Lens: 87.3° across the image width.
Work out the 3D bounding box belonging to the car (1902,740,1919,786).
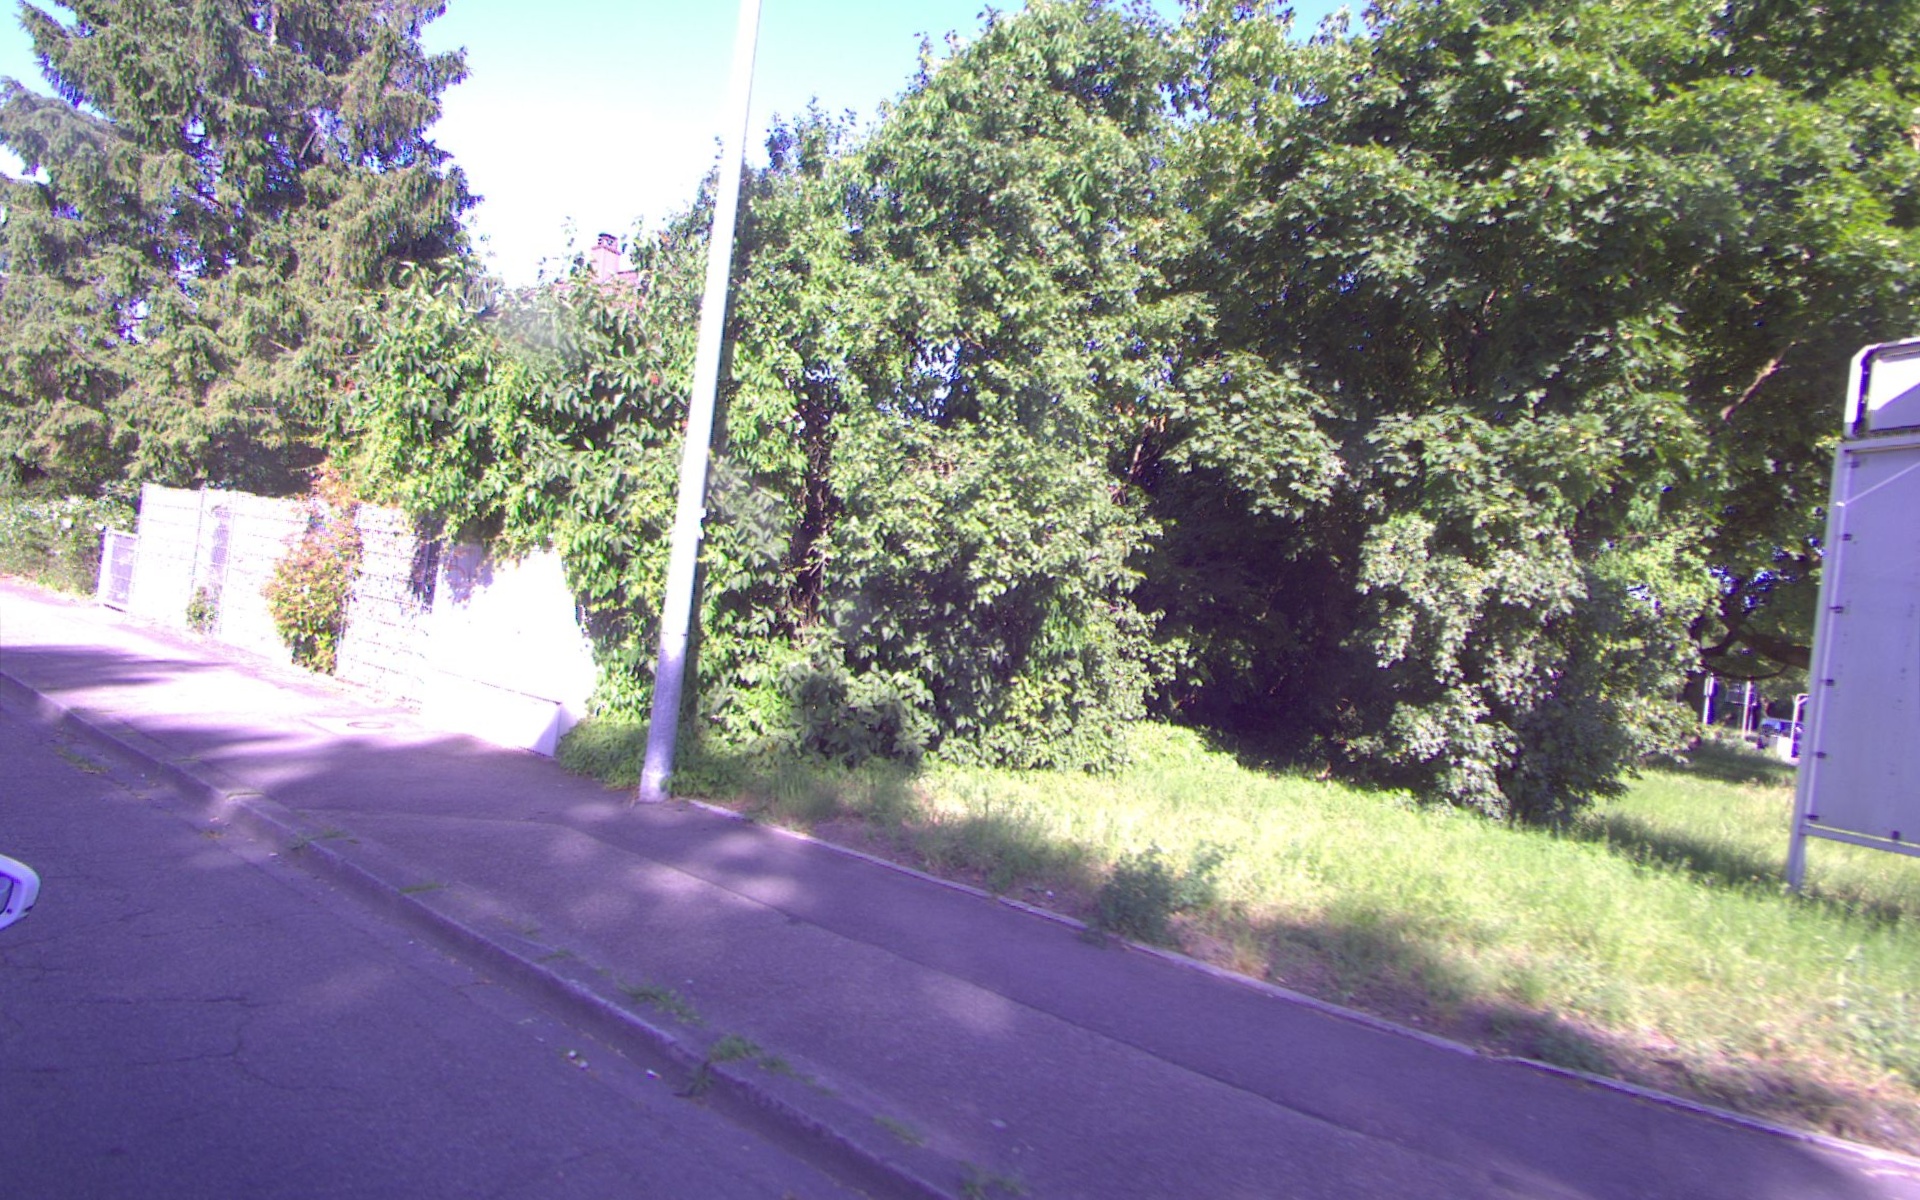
[{"bbox_3d":[40.376,6.836,40.789,1.767,1.819,3.911,5,-1,22],"label":"car"}]

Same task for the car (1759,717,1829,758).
[{"bbox_3d":[46.888,7.714,56.631,1.808,1.819,3.911,5,-1,22],"label":"car"}]
